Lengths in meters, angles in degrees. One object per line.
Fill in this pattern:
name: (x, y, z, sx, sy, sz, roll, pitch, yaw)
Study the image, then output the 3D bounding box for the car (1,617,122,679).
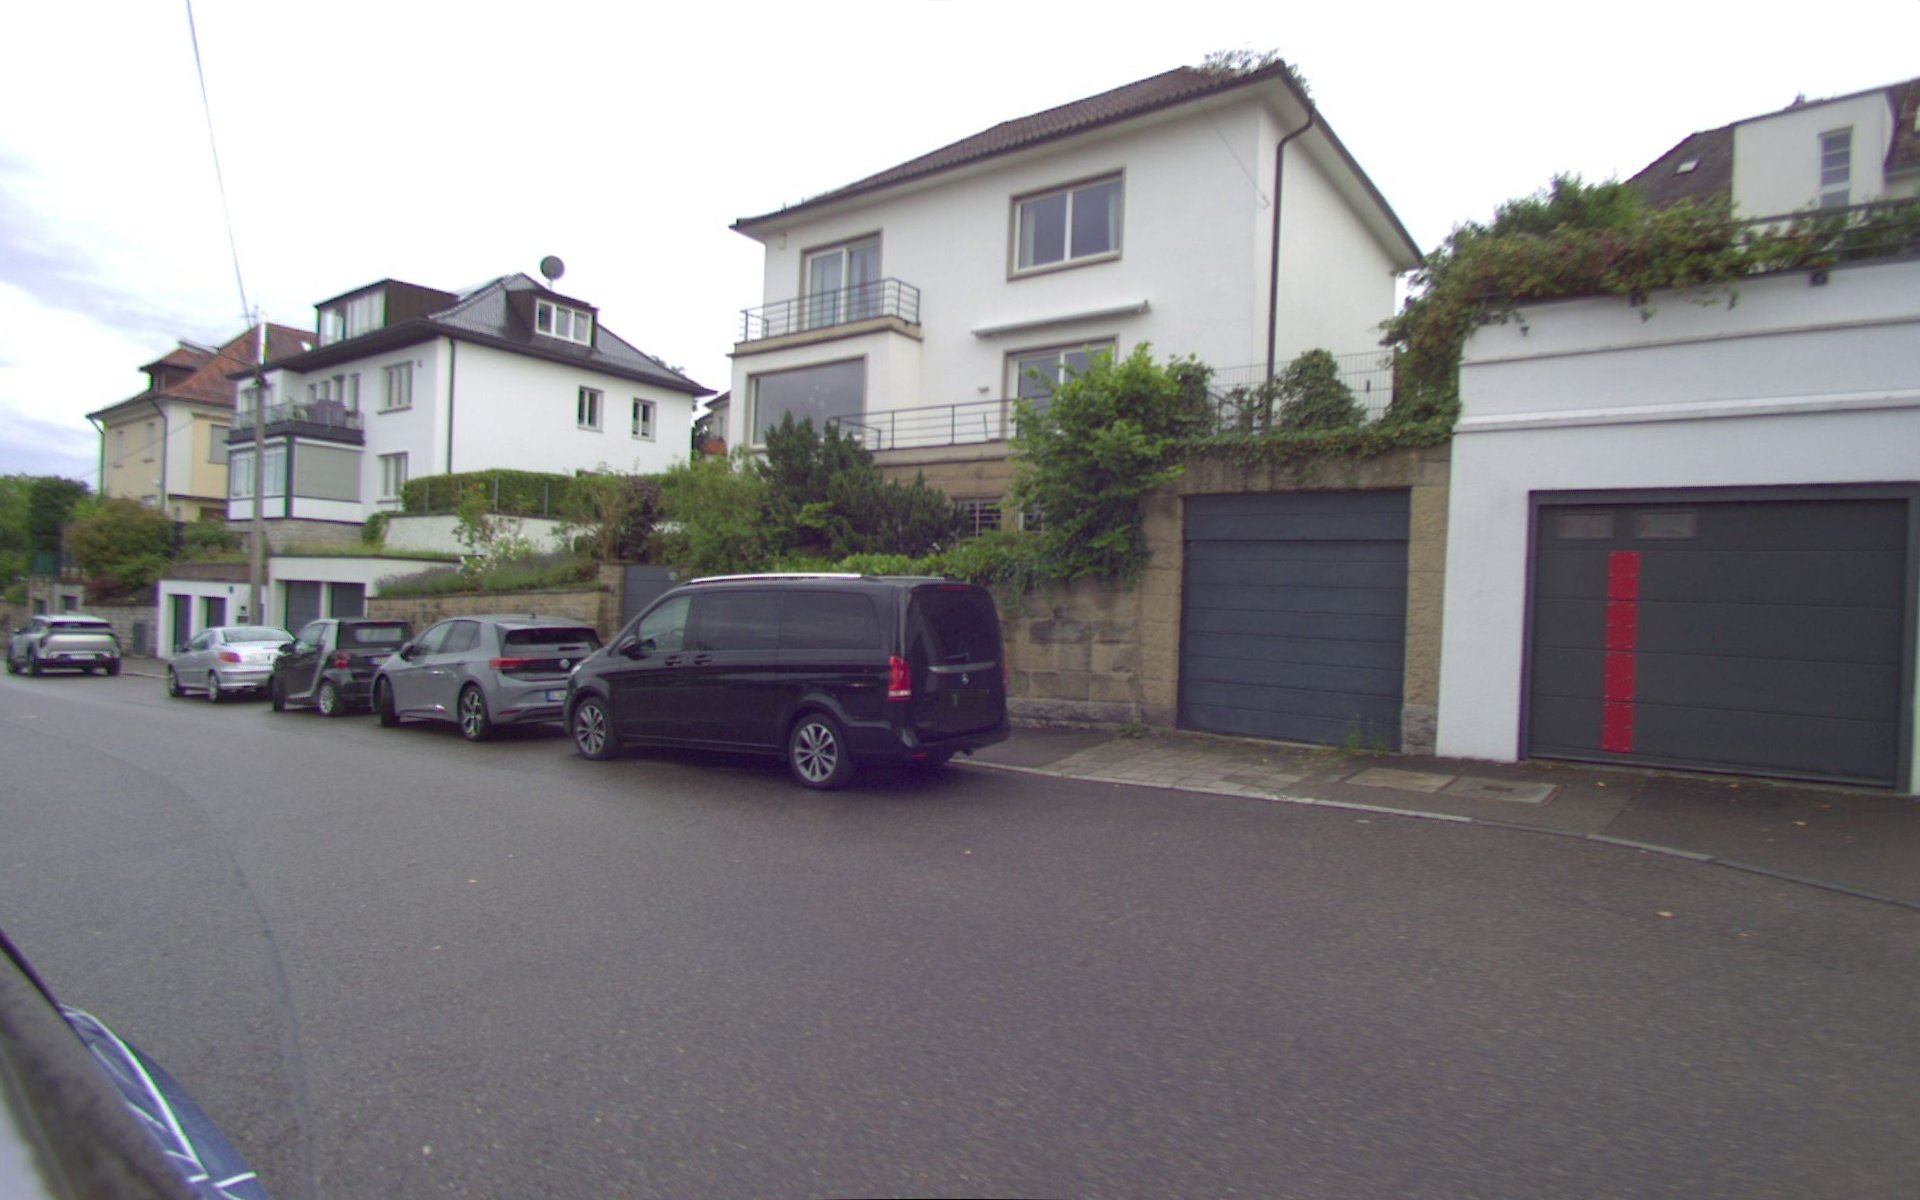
car: (-24.113, 1.223, 27.117, 3.996, 1.512, 1.845, 0, 0, 40)

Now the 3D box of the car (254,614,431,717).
car: (-10.143, 1.005, 16.587, 2.889, 1.502, 1.504, -1, 0, 37)

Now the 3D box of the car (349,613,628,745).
car: (-6.545, 0.961, 13.836, 4.397, 1.502, 1.675, -1, 0, 39)

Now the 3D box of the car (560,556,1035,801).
car: (-1.788, 0.667, 10.335, 4.762, 1.972, 1.977, -1, -1, 35)

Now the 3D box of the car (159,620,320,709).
car: (-13.798, 1.168, 19.334, 3.432, 1.502, 1.575, -1, 0, 38)
